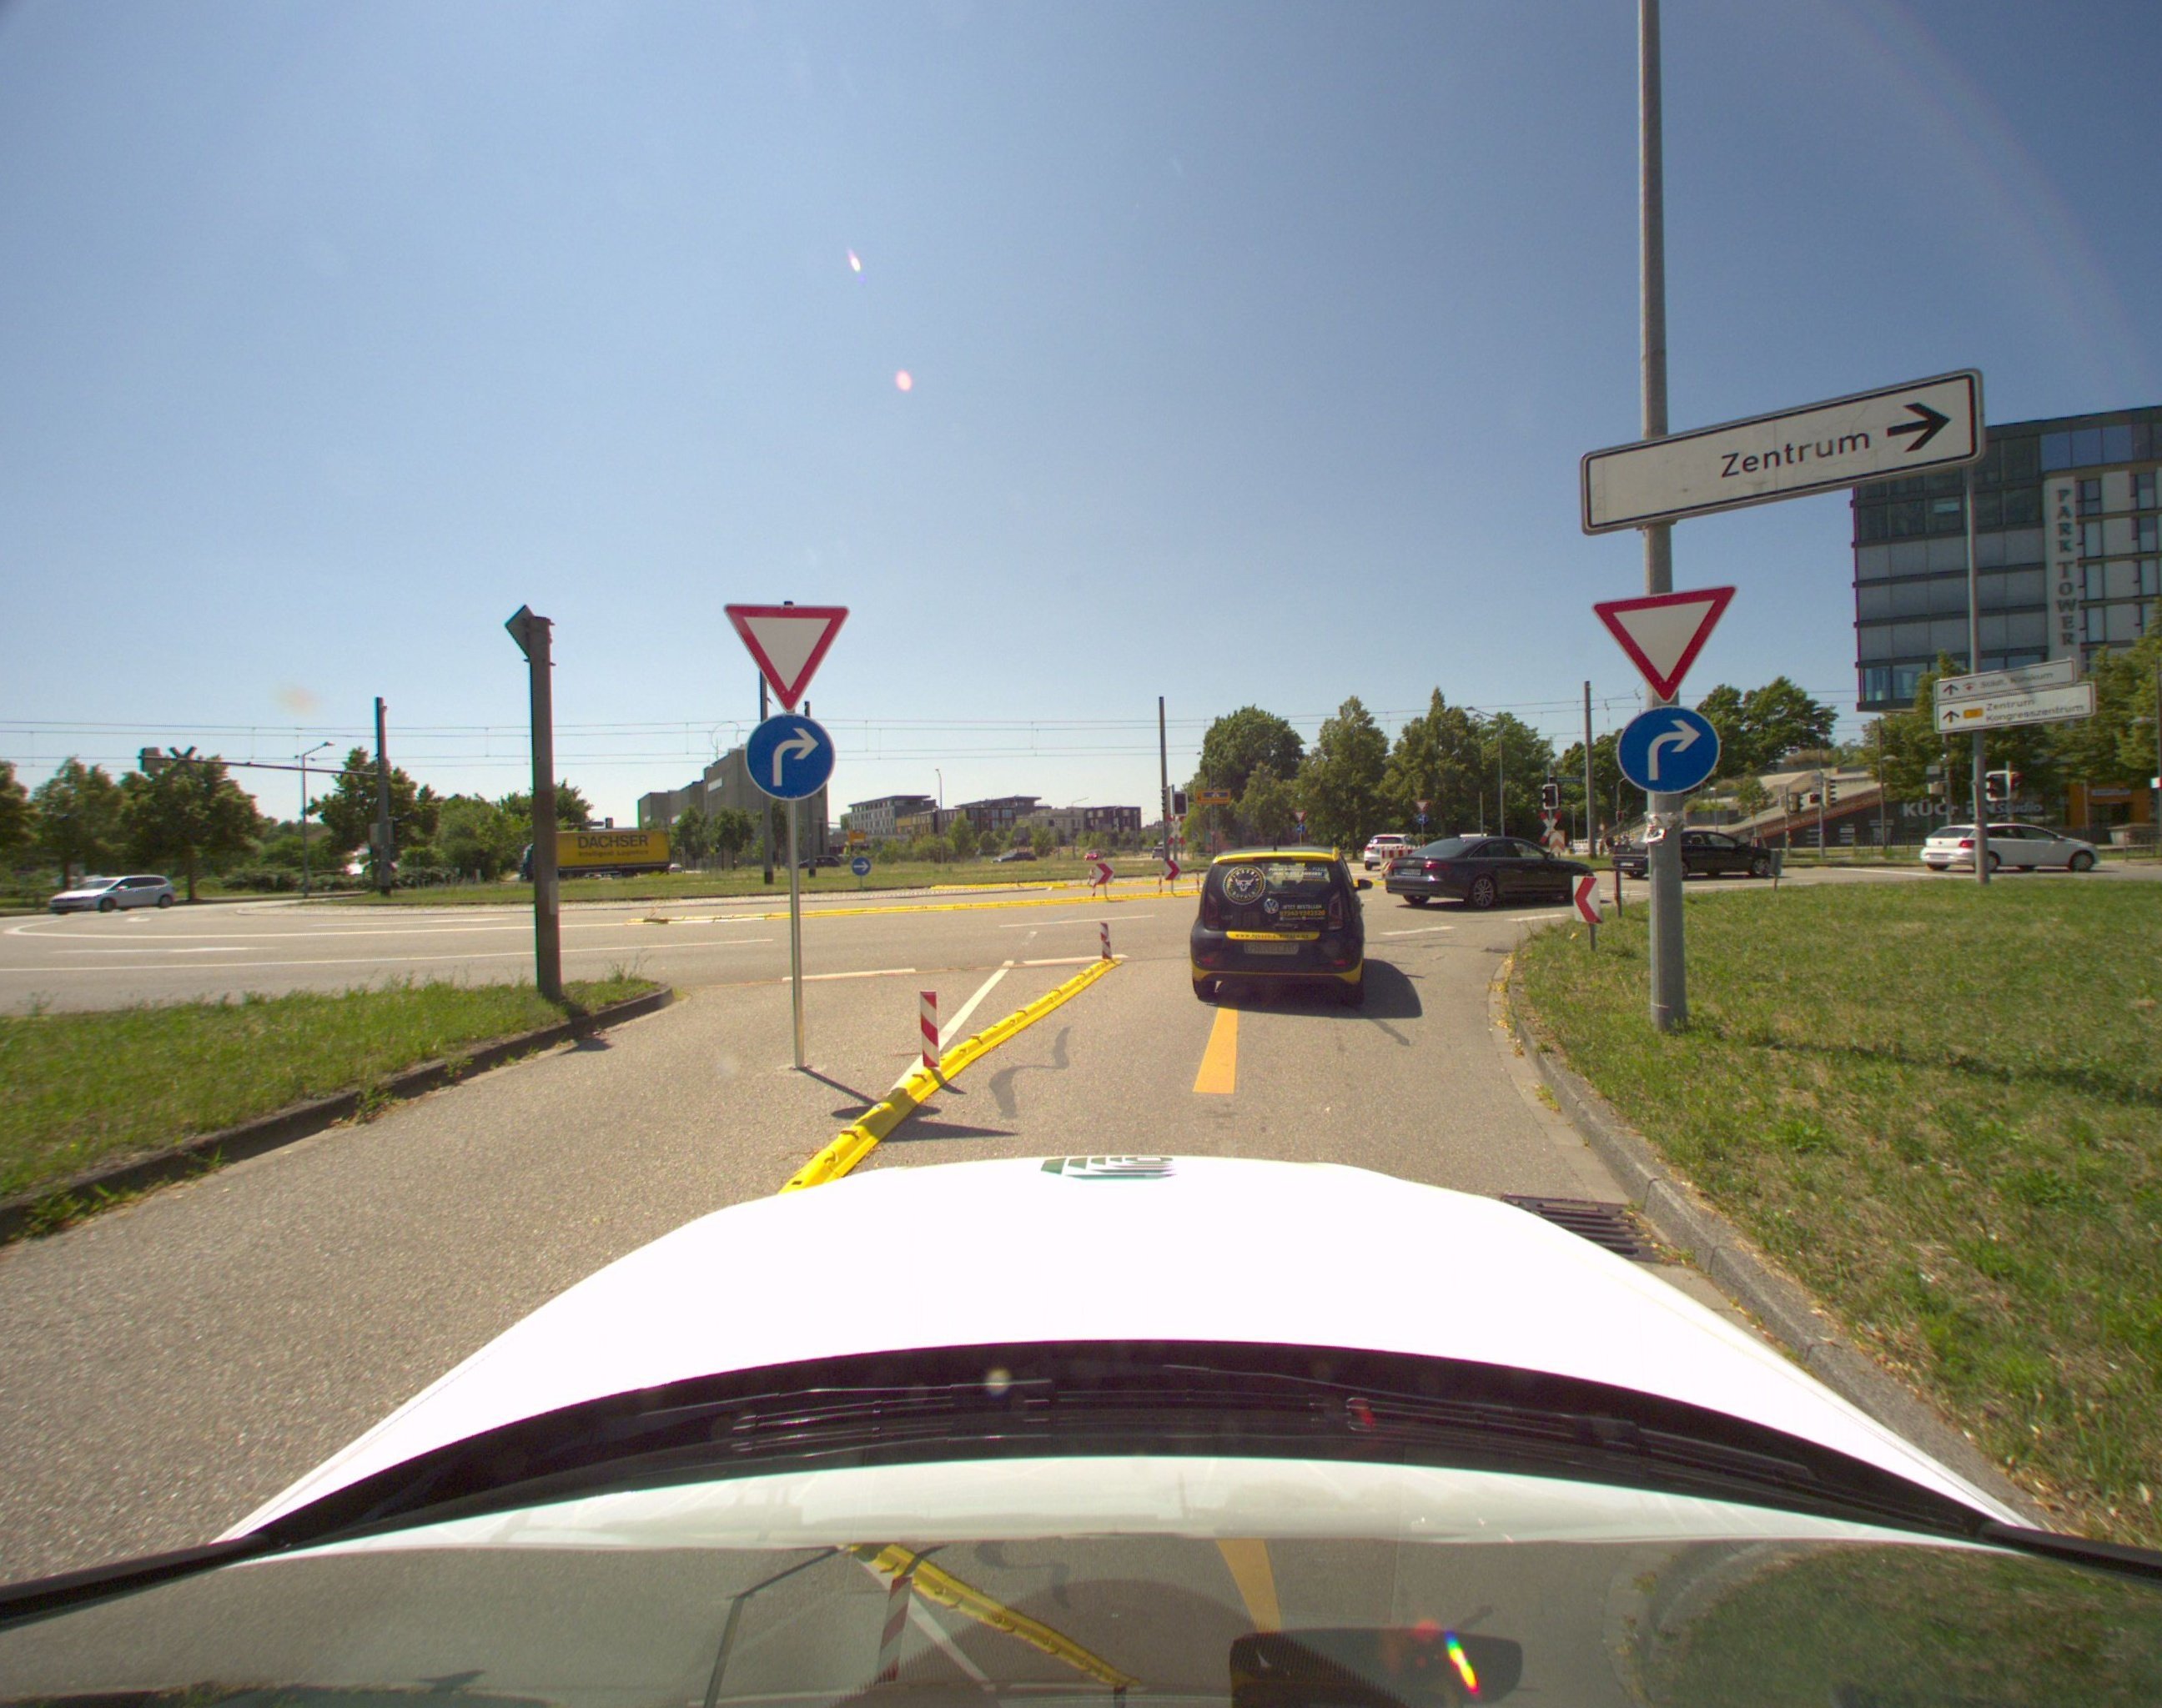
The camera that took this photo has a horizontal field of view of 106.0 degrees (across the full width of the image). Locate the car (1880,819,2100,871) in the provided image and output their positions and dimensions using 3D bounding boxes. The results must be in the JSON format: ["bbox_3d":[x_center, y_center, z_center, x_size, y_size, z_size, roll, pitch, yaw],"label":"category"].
[{"bbox_3d":[27.415,-0.273,24.710,4.314,1.449,1.860,-1,0,7],"label":"car"}]

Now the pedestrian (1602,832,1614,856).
[{"bbox_3d":[33.102,-0.629,51.171,0.516,1.429,0.353,-2,0,11],"label":"pedestrian"}]

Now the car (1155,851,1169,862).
[{"bbox_3d":[11.674,0.345,117.616,1.647,1.372,3.041,-2,0,11],"label":"car"}]

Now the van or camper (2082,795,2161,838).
[{"bbox_3d":[74.158,-2.590,55.983,6.719,2.822,2.391,-1,0,12],"label":"van or camper"}]

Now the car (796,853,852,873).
[{"bbox_3d":[-21.109,0.726,66.920,4.065,1.461,1.711,-2,0,-34],"label":"car"}]

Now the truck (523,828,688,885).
[{"bbox_3d":[-33.631,0.065,58.012,9.671,3.658,2.674,-2,0,-44],"label":"truck"}]

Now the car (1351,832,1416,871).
[{"bbox_3d":[12.806,-0.133,34.293,1.975,1.486,4.393,-2,0,28],"label":"car"}]

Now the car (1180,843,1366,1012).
[{"bbox_3d":[2.349,0.619,9.175,1.605,1.451,4.006,-1,0,19],"label":"car"}]

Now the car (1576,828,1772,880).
[{"bbox_3d":[17.773,-0.013,24.513,4.739,1.448,1.995,-1,0,-8],"label":"car"}]

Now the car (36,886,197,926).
[{"bbox_3d":[-44.774,2.386,38.022,1.818,1.454,5.012,-2,0,-6],"label":"car"}]

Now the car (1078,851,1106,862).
[{"bbox_3d":[1.315,0.278,93.025,1.478,1.089,3.543,-1,1,34],"label":"car"}]

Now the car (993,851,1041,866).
[{"bbox_3d":[-6.215,0.410,79.250,1.975,1.319,4.510,-2,1,44],"label":"car"}]

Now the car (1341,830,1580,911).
[{"bbox_3d":[8.055,0.290,17.275,4.655,1.448,1.985,-2,1,-23],"label":"car"}]
